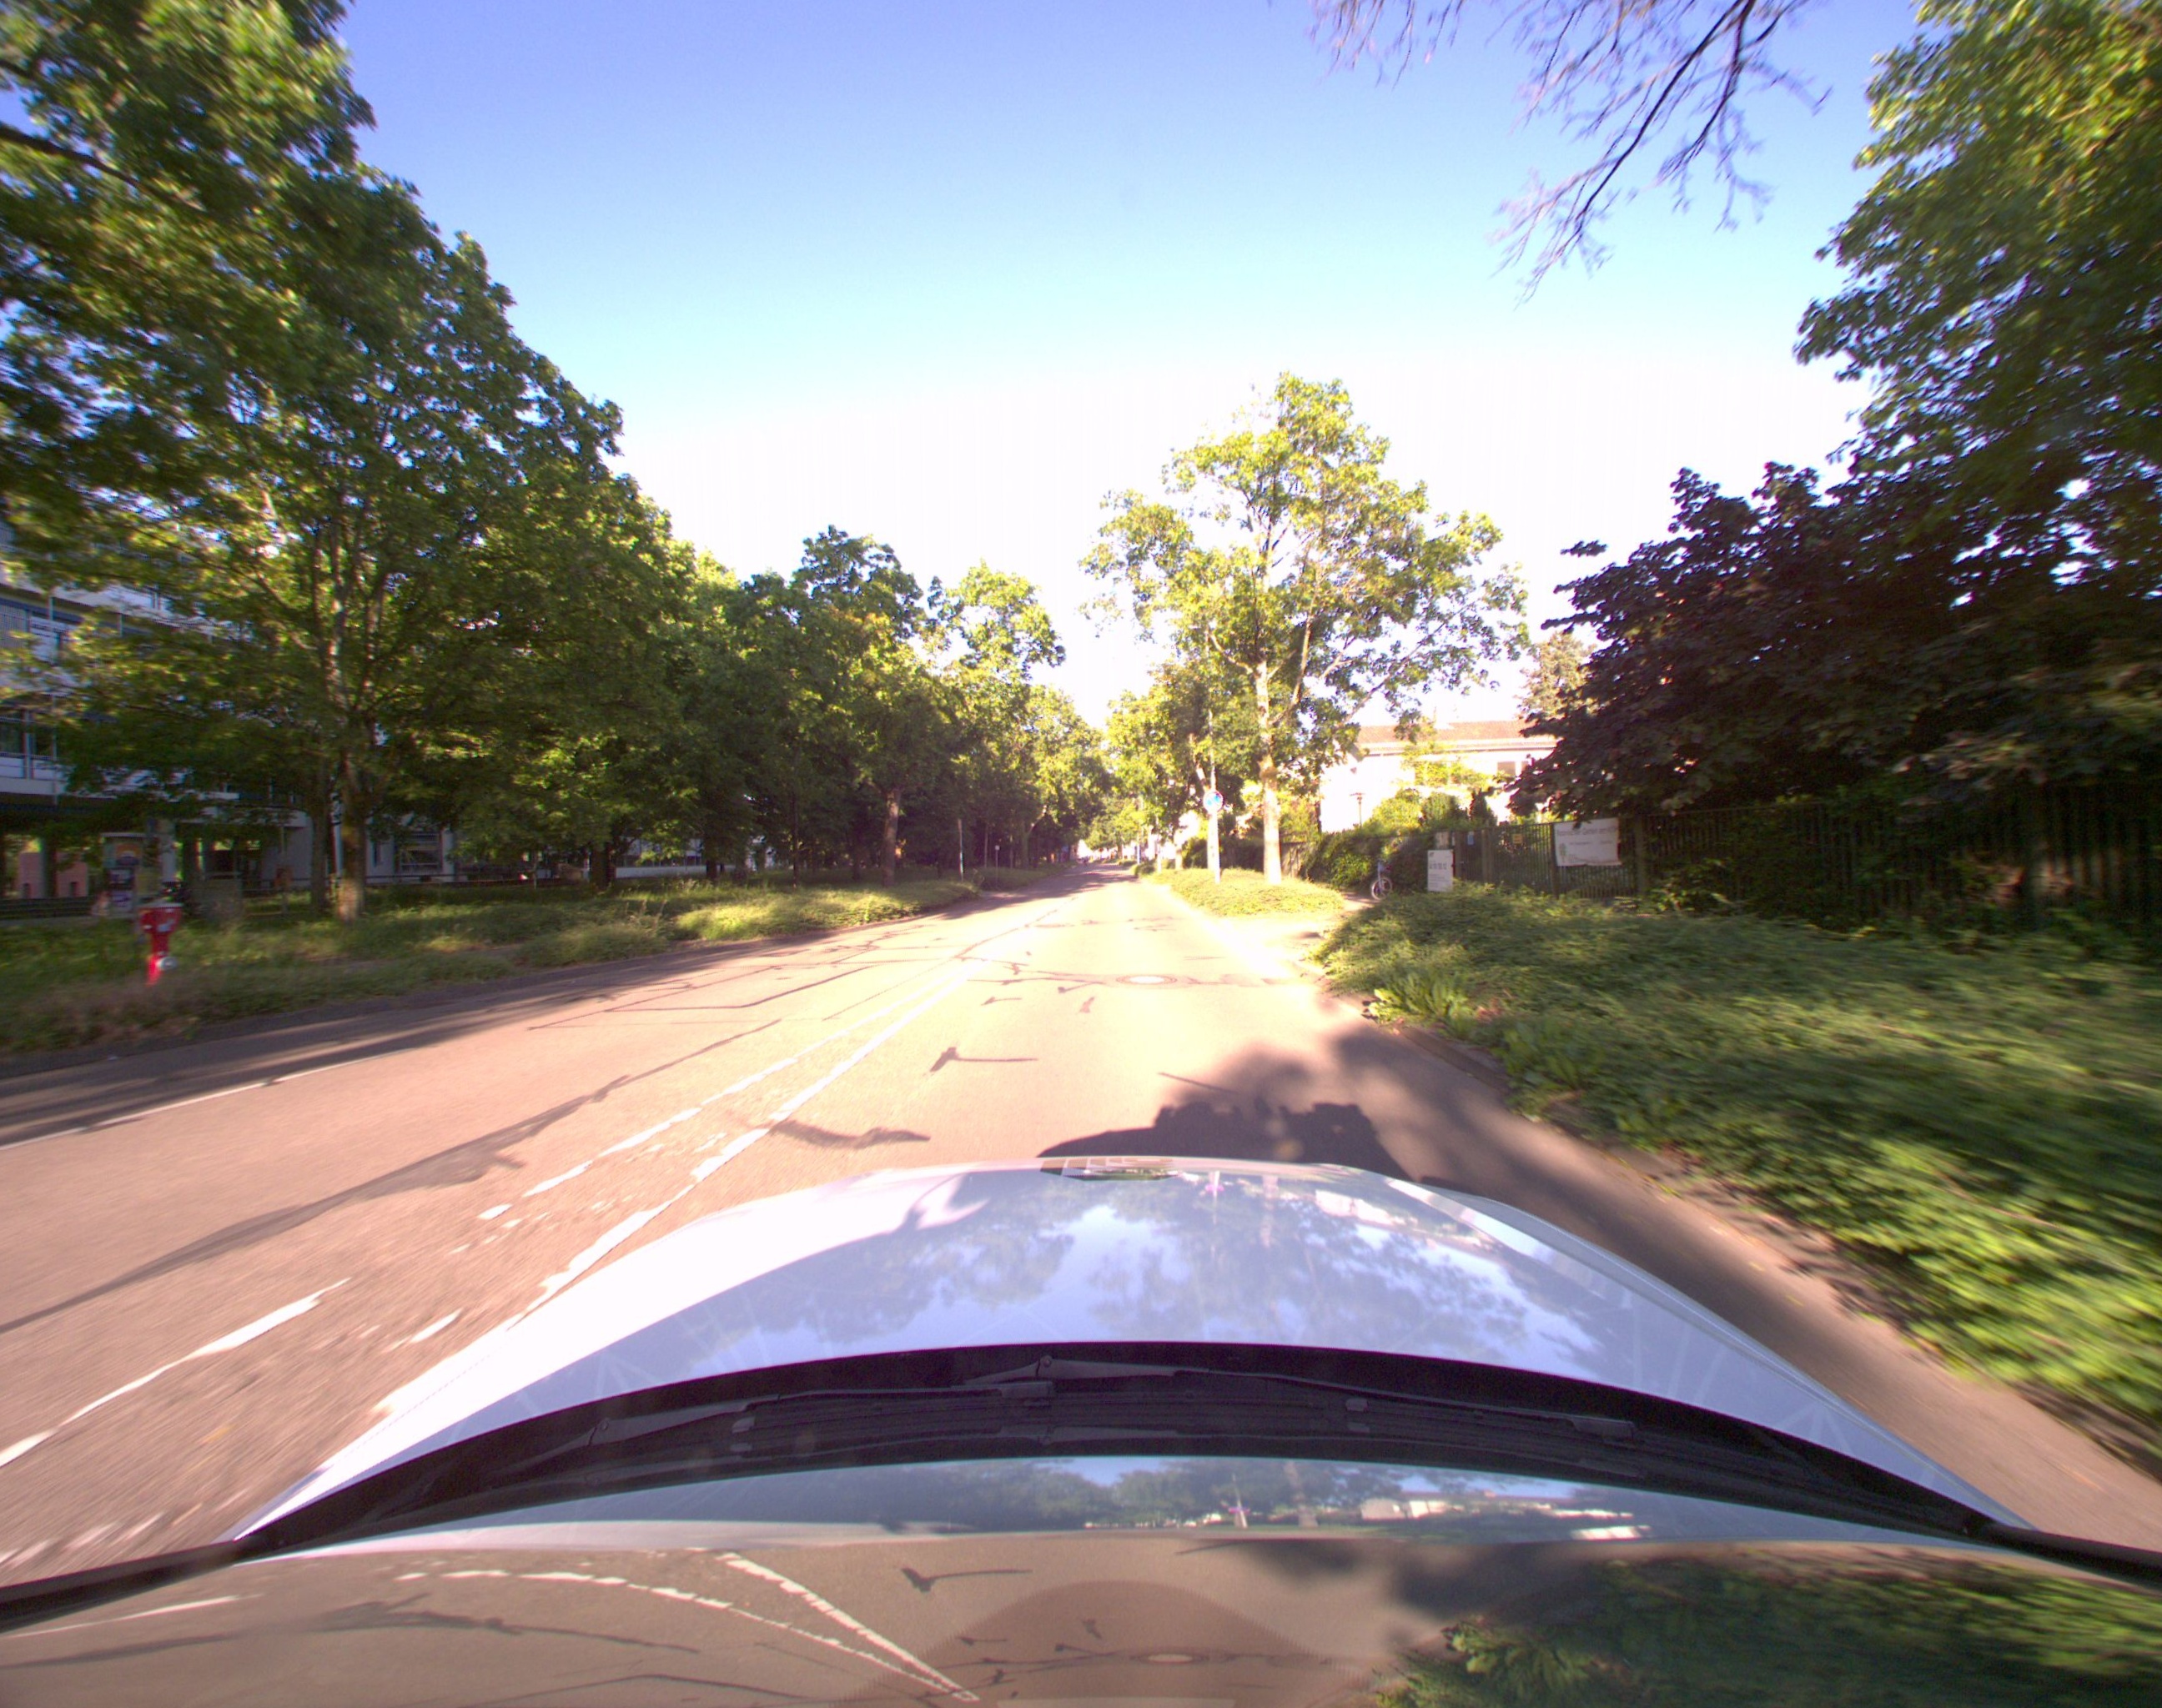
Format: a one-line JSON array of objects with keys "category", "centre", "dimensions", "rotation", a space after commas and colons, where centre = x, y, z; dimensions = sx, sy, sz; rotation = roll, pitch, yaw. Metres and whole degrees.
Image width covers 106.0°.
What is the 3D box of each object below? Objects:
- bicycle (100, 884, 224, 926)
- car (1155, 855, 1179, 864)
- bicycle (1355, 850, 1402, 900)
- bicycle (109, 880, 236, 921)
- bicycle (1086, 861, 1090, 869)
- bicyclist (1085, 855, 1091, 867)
[{"category": "bicycle", "centre": [-27.588, 1.511, 24.505], "dimensions": [0.530, 1.071, 2.445], "rotation": [2, 2, 40]}, {"category": "car", "centre": [15.949, 1.060, 151.231], "dimensions": [4.326, 1.353, 2.148], "rotation": [2, 3, 7]}, {"category": "bicycle", "centre": [8.046, 0.540, 21.989], "dimensions": [0.875, 1.200, 2.340], "rotation": [-4, 0, 26]}, {"category": "bicycle", "centre": [-28.518, 1.438, 25.651], "dimensions": [0.531, 1.071, 2.647], "rotation": [3, 1, 19]}, {"category": "bicycle", "centre": [0.996, 1.577, 116.553], "dimensions": [0.437, 0.978, 1.662], "rotation": [-2, 1, 1]}, {"category": "bicyclist", "centre": [1.030, 0.949, 116.515], "dimensions": [0.864, 1.641, 1.115], "rotation": [0, 1, 1]}]
